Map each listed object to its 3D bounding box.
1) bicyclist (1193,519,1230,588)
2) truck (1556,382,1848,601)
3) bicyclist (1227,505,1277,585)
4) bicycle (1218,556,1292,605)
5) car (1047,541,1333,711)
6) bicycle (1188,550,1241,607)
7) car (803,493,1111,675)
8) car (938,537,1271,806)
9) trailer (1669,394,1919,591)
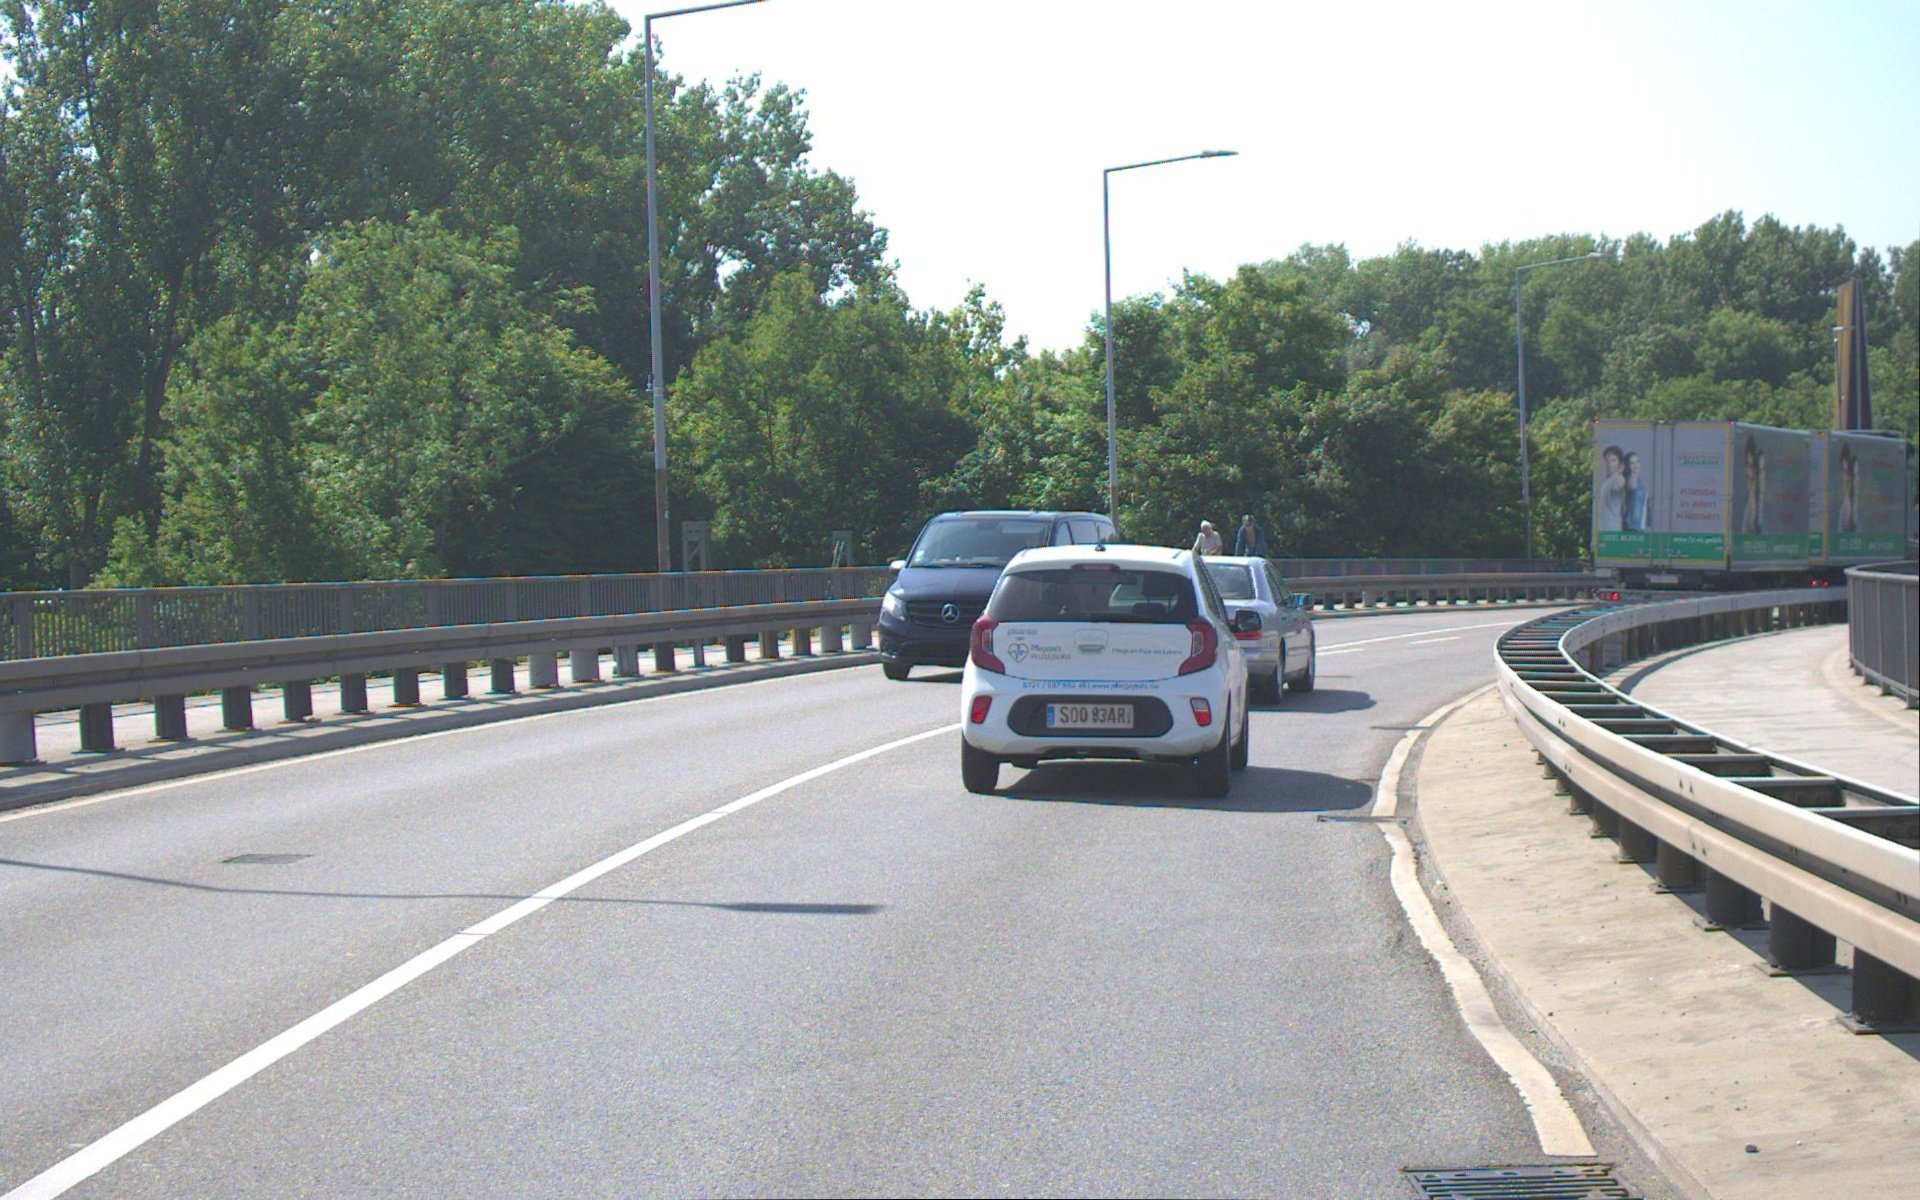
[{"bbox_3d":[4.922,-0.902,67.233,0.488,1.324,0.946,1,0,19],"label":"bicyclist"},{"bbox_3d":[14.051,-2.042,64.512,3.265,3.745,8.359,3,3,26],"label":"truck"},{"bbox_3d":[5.602,-1.057,65.973,0.661,1.491,1.015,1,3,24],"label":"bicyclist"},{"bbox_3d":[5.683,-0.382,66.151,0.929,0.888,1.965,1,2,20],"label":"bicycle"},{"bbox_3d":[2.335,0.192,33.610,1.940,1.481,4.897,1,1,14],"label":"car"},{"bbox_3d":[4.998,-0.427,67.470,0.574,1.043,1.708,-1,1,20],"label":"bicycle"},{"bbox_3d":[0.083,-0.244,39.139,2.077,1.882,5.911,1,2,14],"label":"car"},{"bbox_3d":[1.014,0.376,21.995,1.702,1.489,3.999,2,1,8],"label":"car"},{"bbox_3d":[17.425,-2.227,71.111,3.229,3.745,7.813,3,3,27],"label":"trailer"}]
